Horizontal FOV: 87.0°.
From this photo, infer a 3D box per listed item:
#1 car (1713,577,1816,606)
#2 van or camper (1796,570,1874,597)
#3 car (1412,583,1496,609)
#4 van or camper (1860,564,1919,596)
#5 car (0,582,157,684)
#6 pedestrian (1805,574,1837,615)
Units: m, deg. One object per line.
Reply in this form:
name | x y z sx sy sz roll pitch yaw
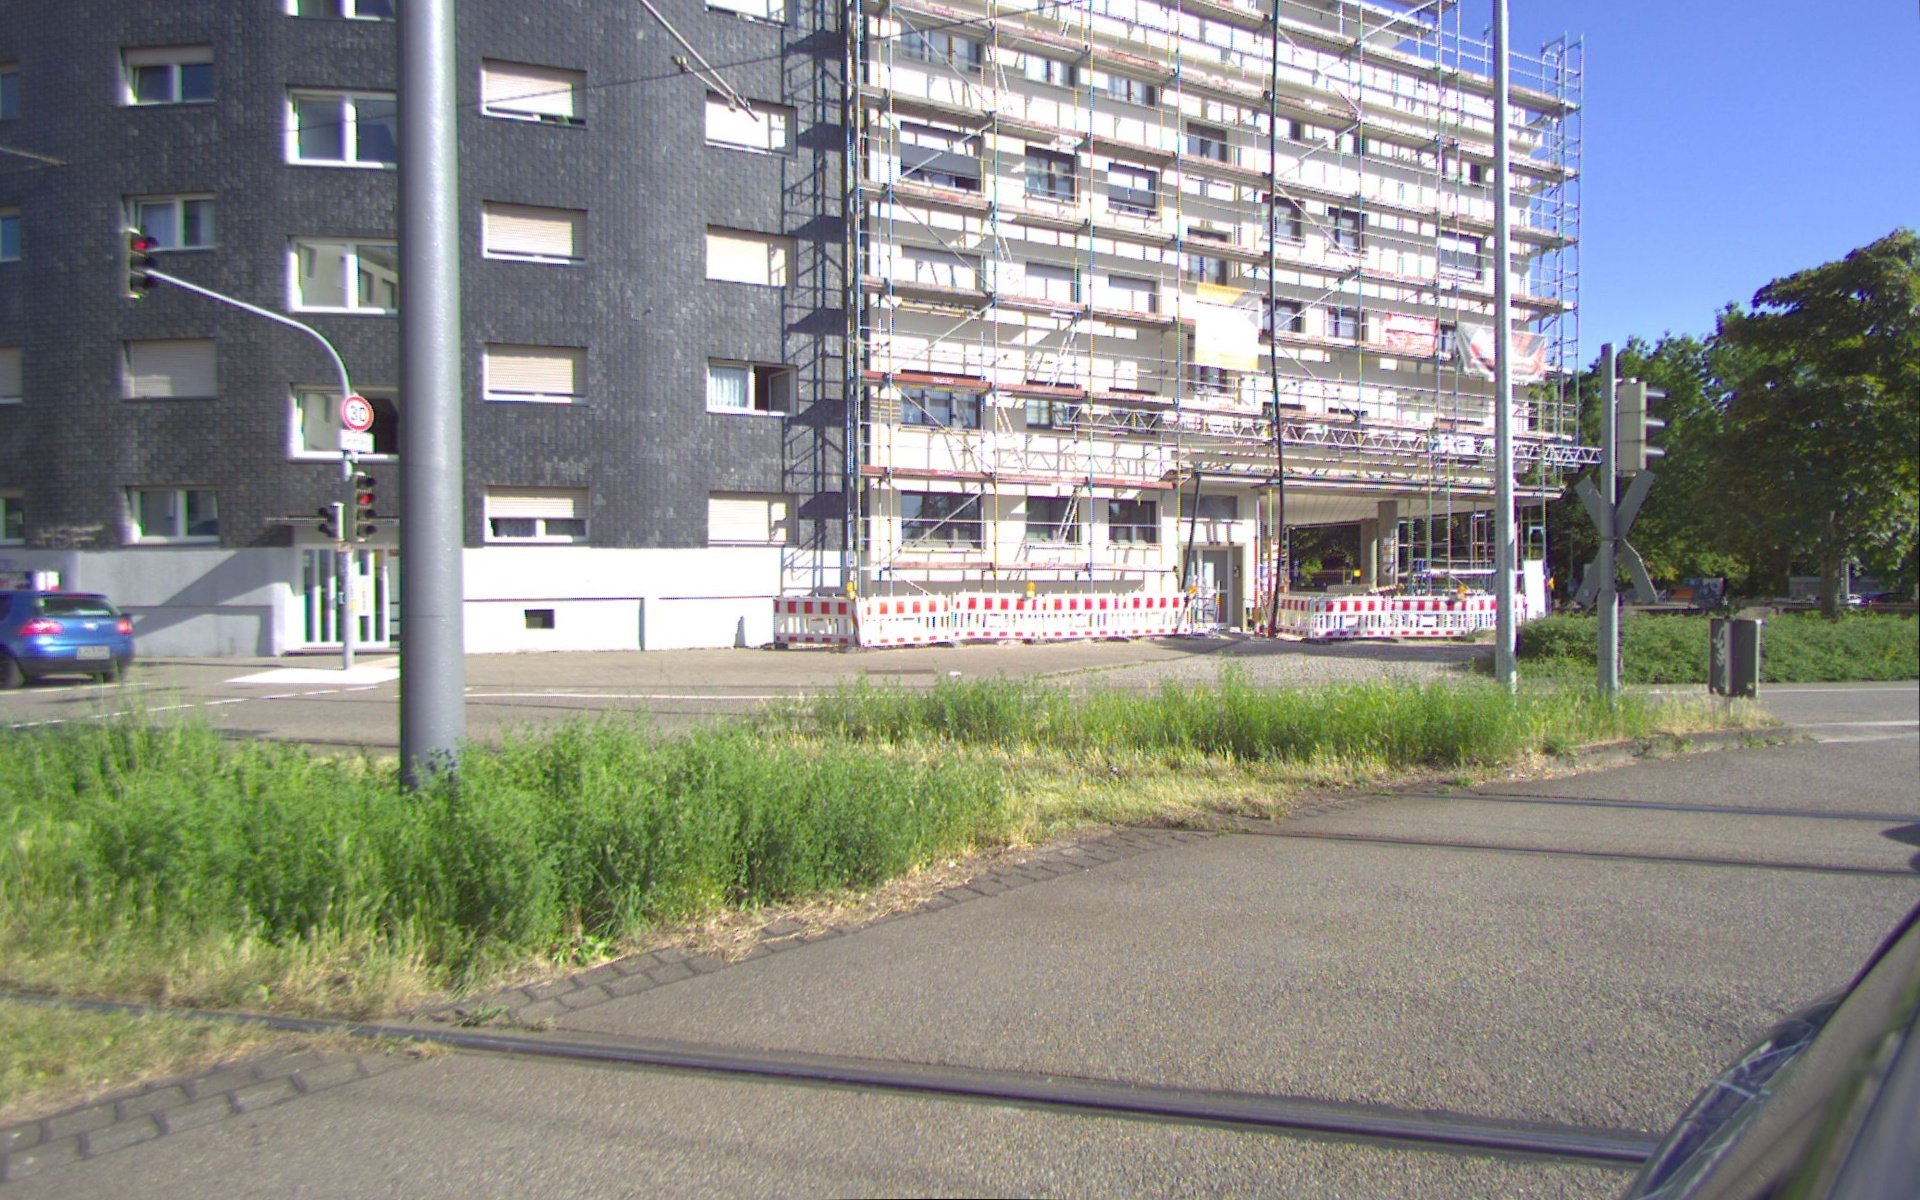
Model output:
car | 39.562 -0.406 49.846 1.591 1.331 3.593 -3 2 -26
van or camper | 65.150 -1.254 75.342 5.218 1.937 2.463 -1 1 -25
car | 28.223 -0.217 57.866 3.916 1.314 2.004 -2 0 -13
van or camper | 66.815 -1.430 71.957 5.219 2.186 2.462 -1 1 -27
car | -14.836 0.467 15.790 3.562 1.461 1.774 0 0 12
pedestrian | 32.371 -0.195 38.053 0.891 1.516 0.652 -1 0 -29
